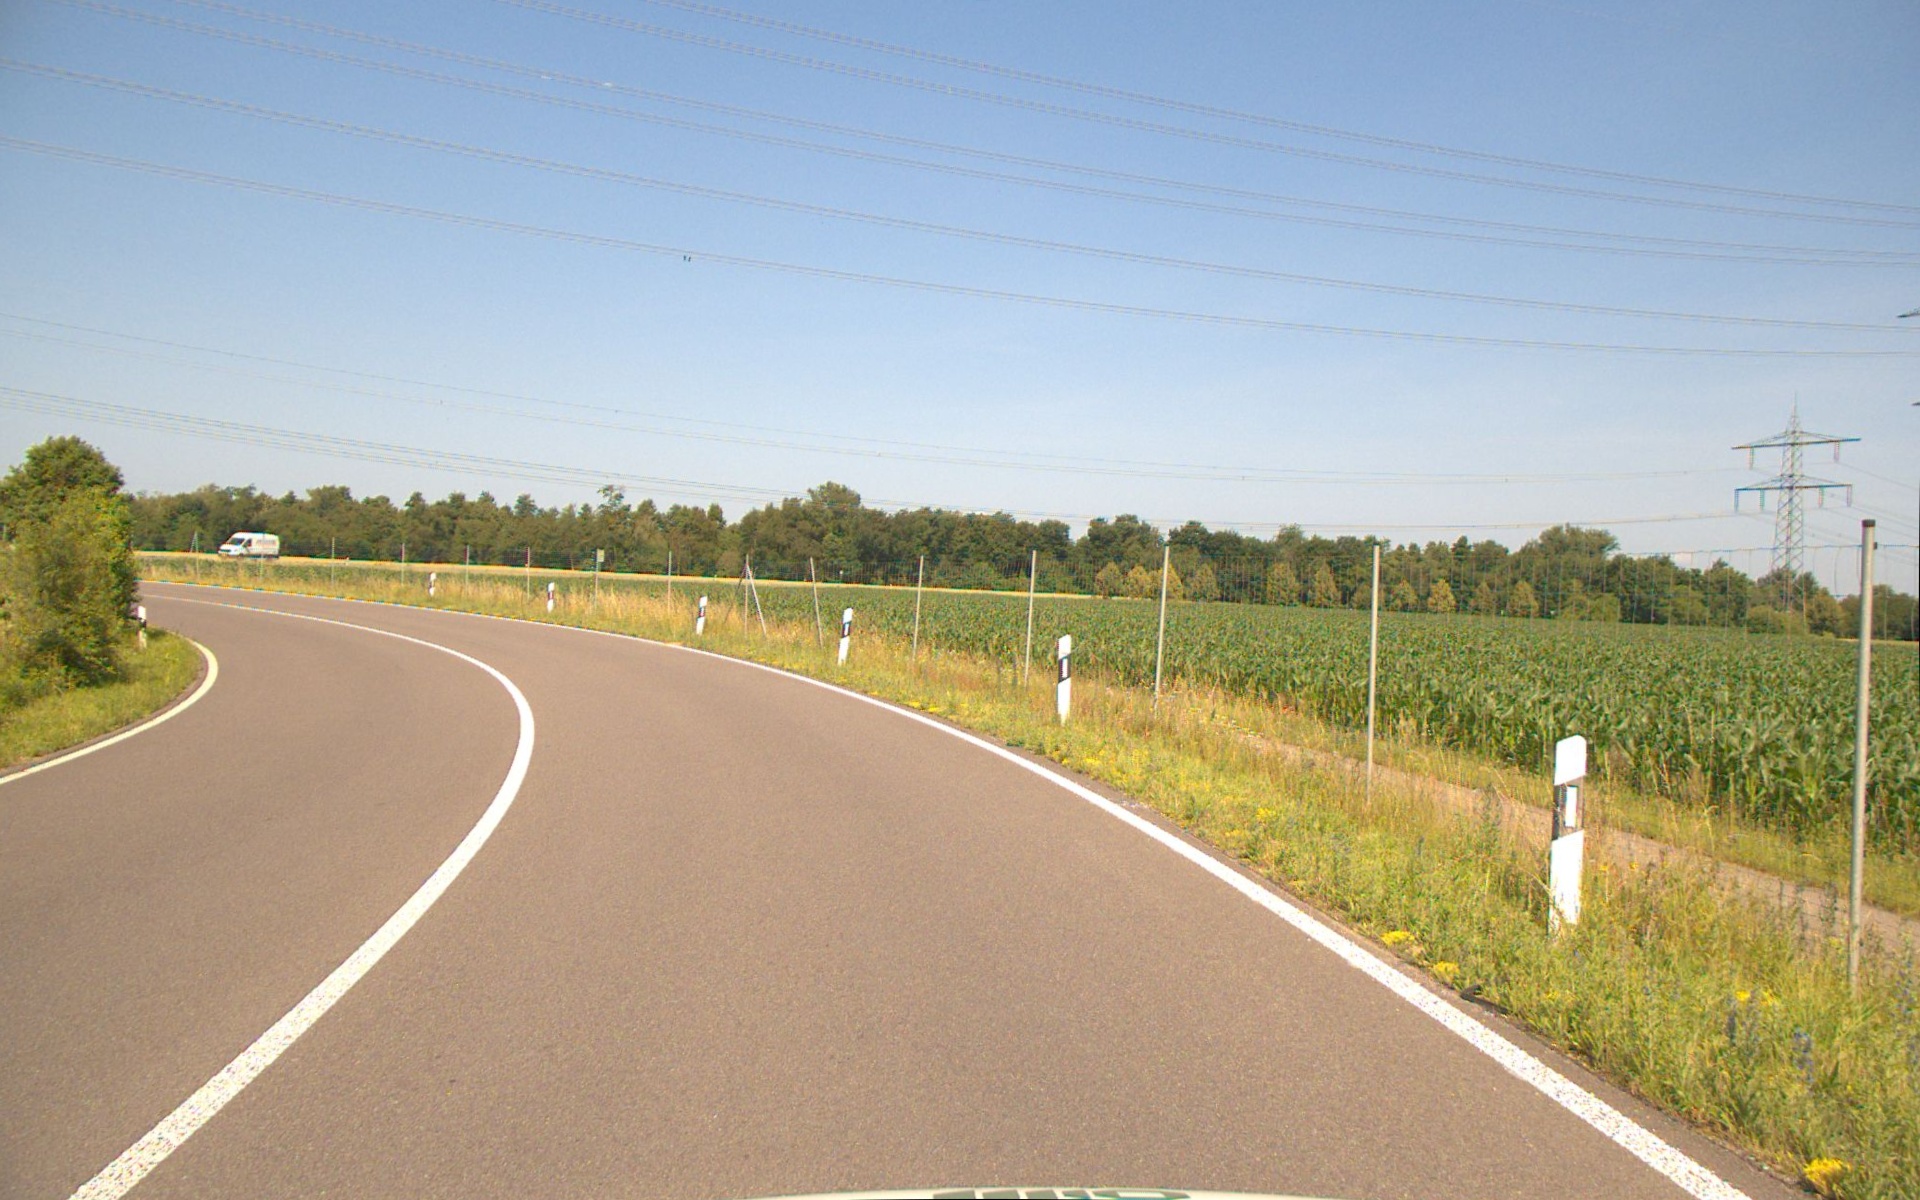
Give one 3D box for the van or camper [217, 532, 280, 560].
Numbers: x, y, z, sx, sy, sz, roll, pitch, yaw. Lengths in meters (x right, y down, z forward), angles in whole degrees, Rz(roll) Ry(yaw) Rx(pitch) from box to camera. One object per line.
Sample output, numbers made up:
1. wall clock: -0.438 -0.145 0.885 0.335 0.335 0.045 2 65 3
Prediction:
1. van or camper: -64.369 -4.842 149.743 1.952 2.306 5.772 2 1 18
